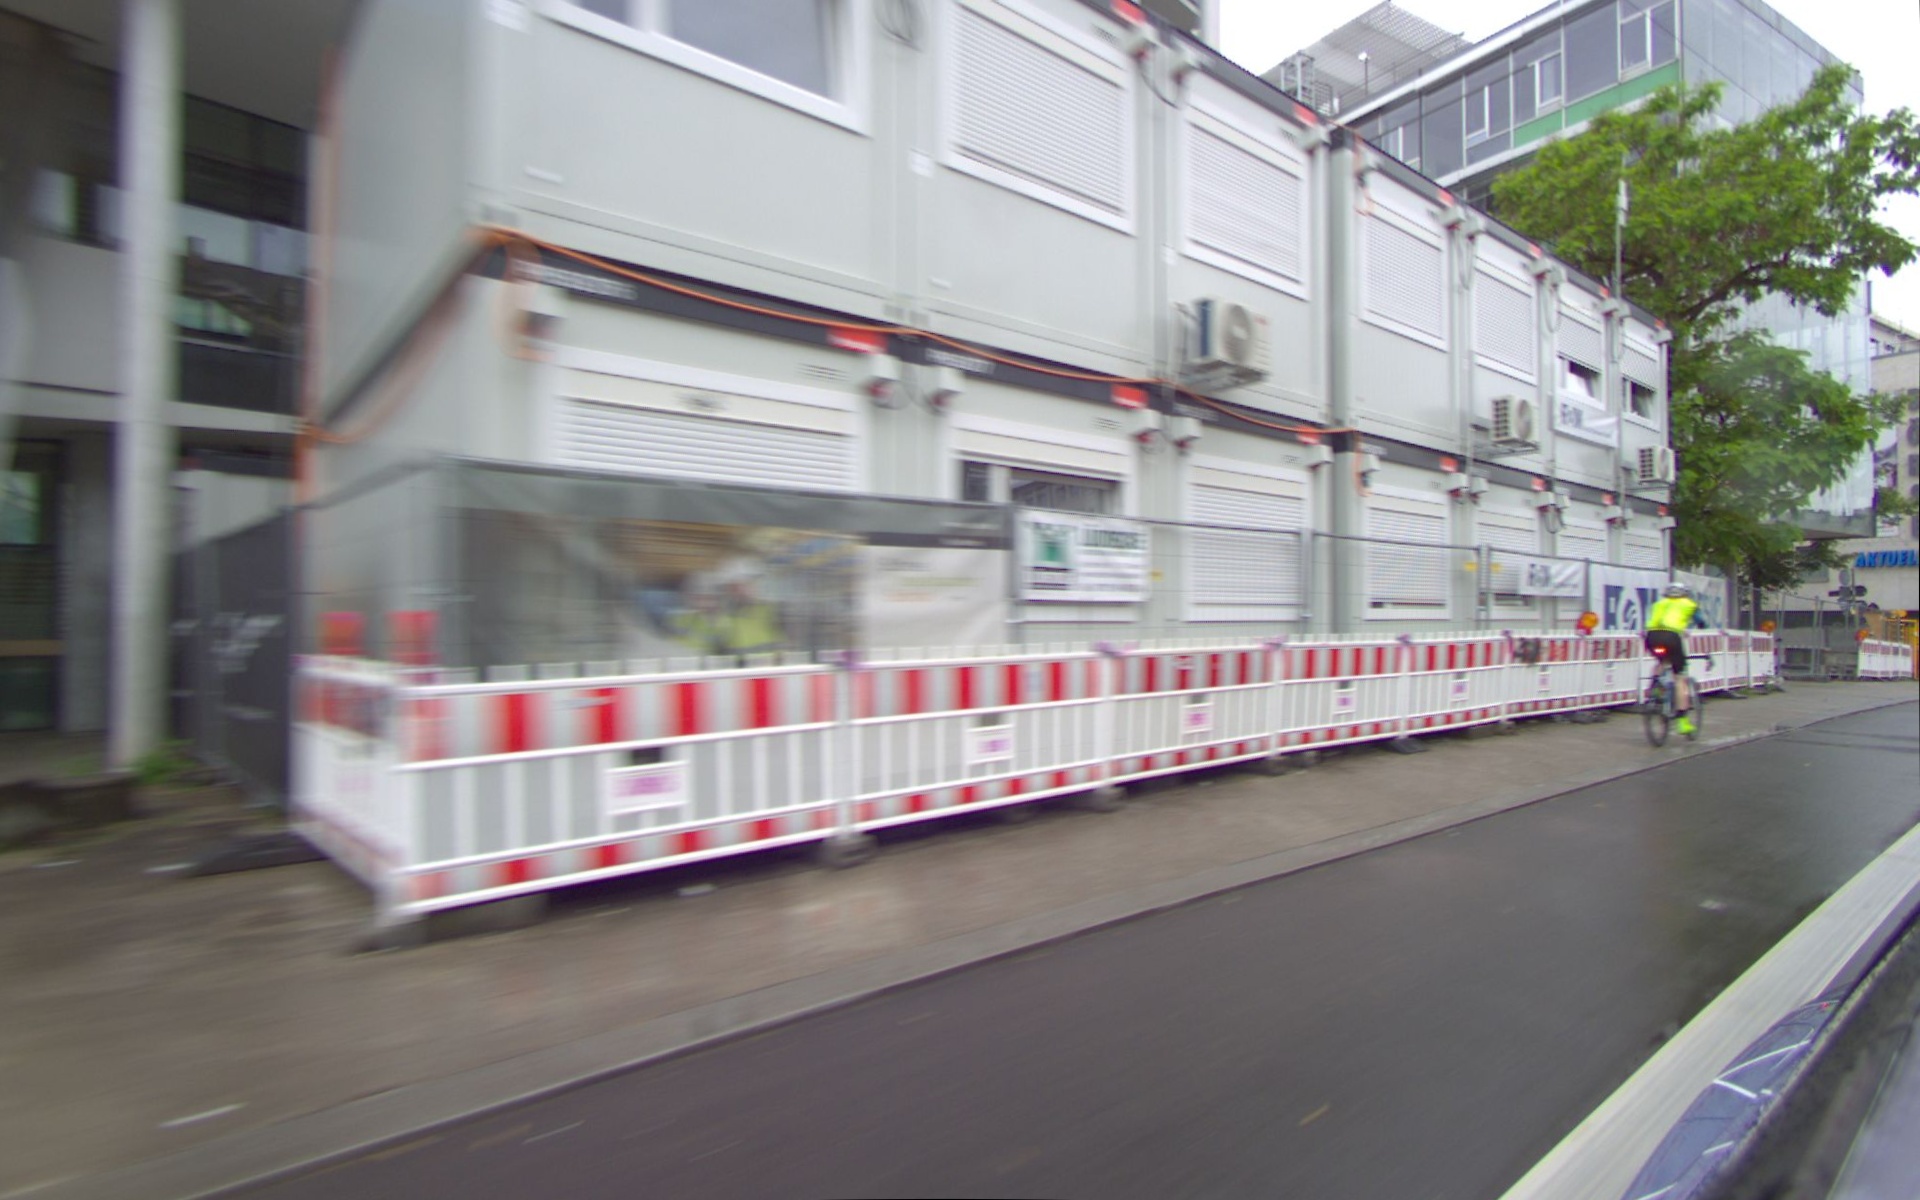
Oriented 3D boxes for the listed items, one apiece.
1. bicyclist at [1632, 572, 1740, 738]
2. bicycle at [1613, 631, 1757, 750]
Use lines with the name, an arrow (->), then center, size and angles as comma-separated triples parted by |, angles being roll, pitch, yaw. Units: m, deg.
bicyclist -> 7.732, 0.554, 10.783 | 0.778, 1.658, 0.664 | 0, 3, -39
bicycle -> 7.768, 0.916, 10.810 | 2.019, 1.065, 0.664 | 0, 3, -38
